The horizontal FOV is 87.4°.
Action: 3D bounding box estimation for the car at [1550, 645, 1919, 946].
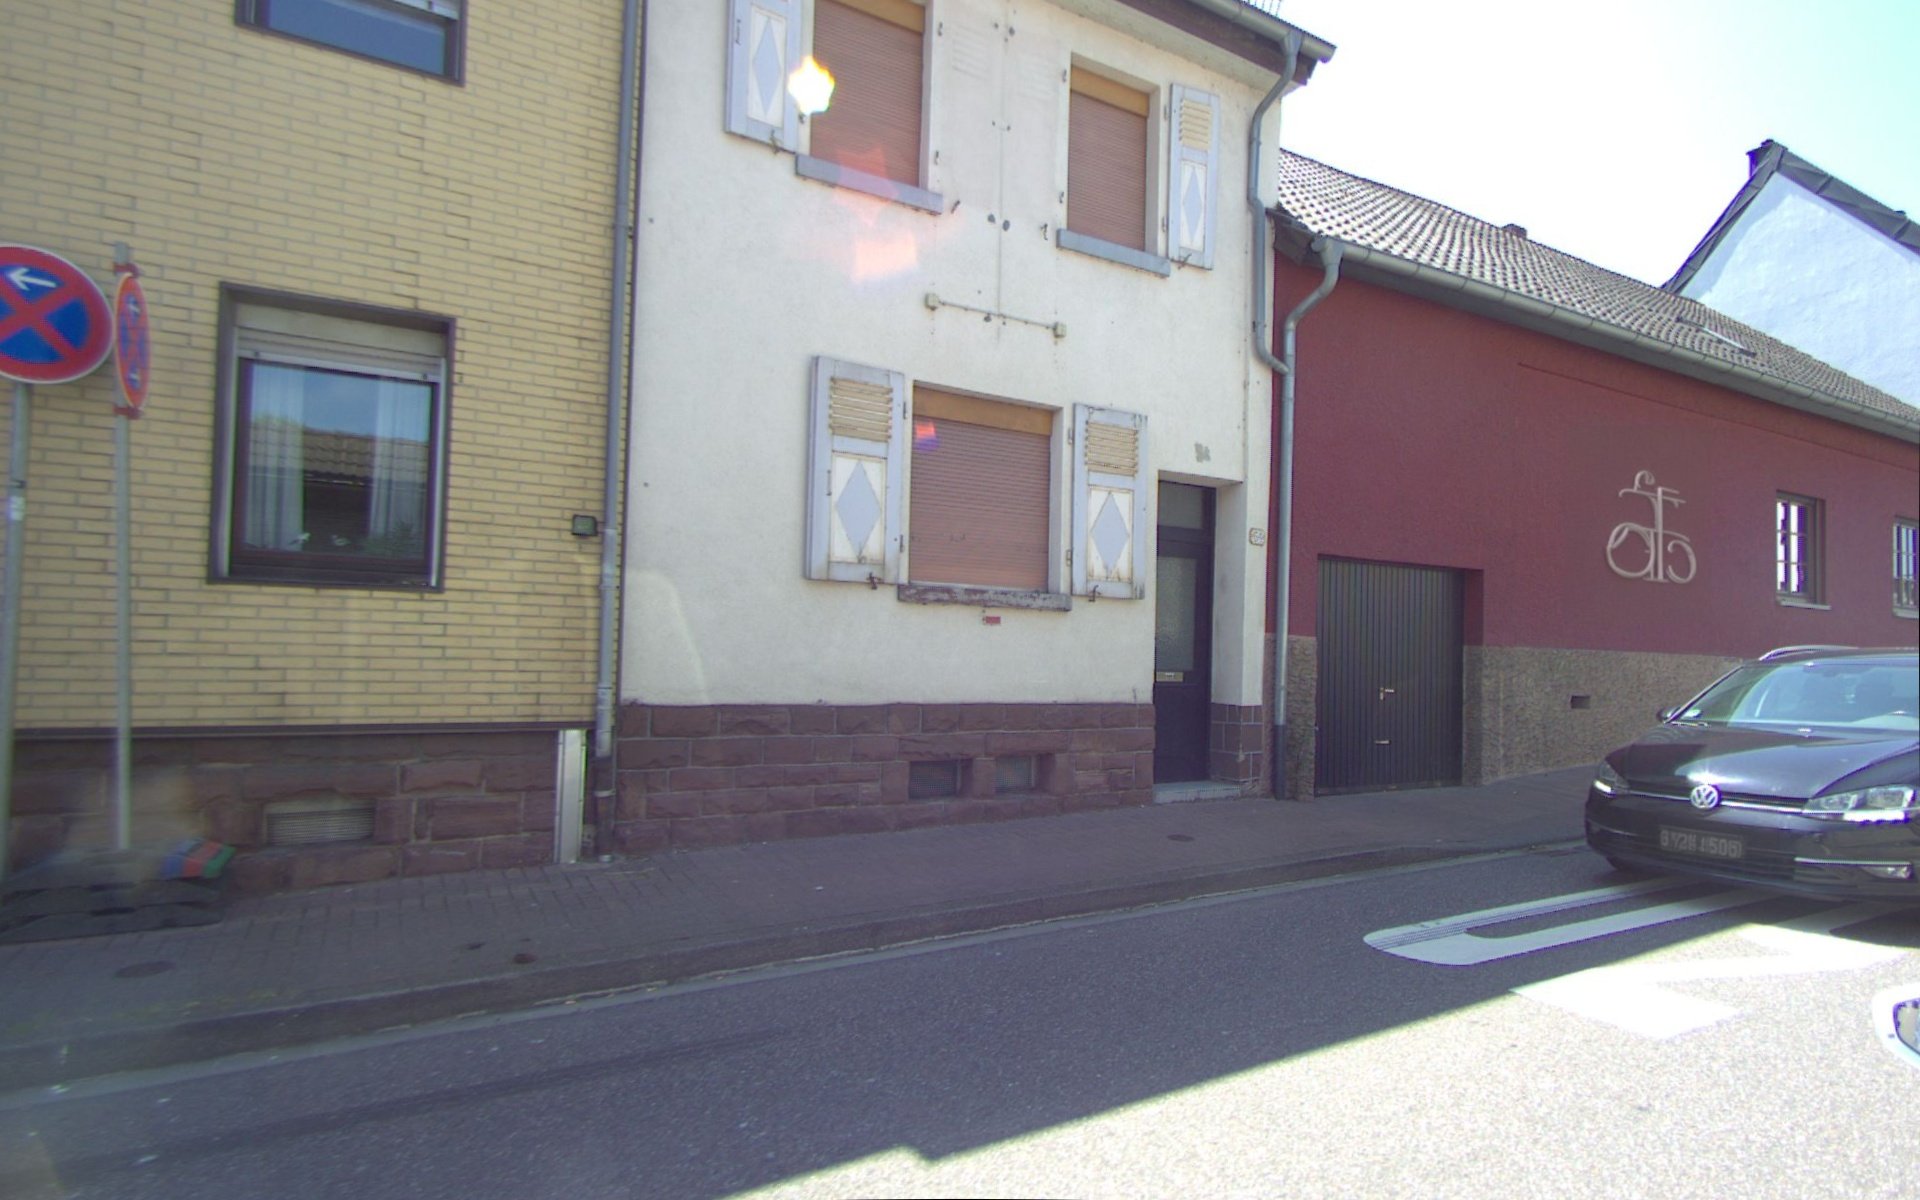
[{"bbox_3d":[5.919,1.029,6.577,4.150,1.428,1.687,2,-4,-30],"label":"car"}]
